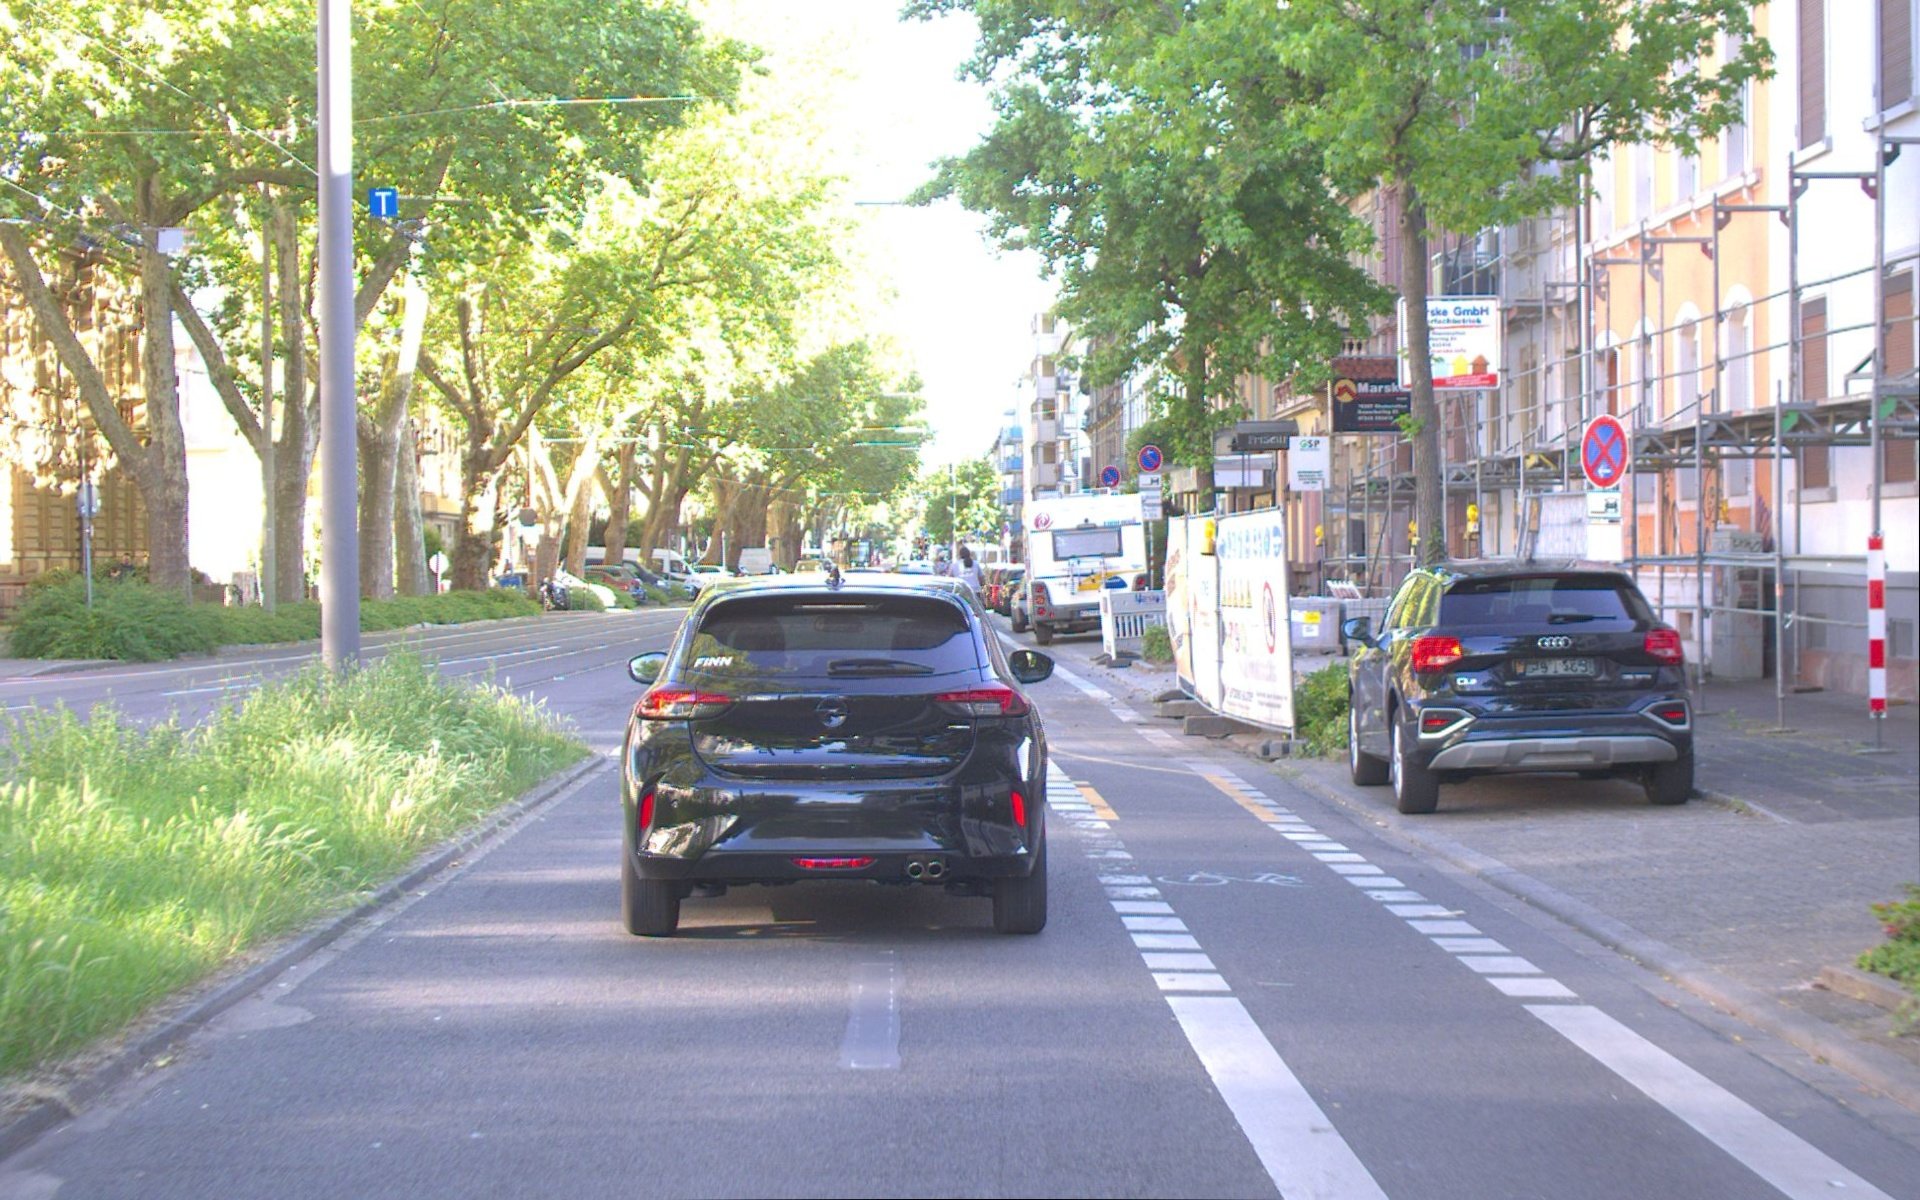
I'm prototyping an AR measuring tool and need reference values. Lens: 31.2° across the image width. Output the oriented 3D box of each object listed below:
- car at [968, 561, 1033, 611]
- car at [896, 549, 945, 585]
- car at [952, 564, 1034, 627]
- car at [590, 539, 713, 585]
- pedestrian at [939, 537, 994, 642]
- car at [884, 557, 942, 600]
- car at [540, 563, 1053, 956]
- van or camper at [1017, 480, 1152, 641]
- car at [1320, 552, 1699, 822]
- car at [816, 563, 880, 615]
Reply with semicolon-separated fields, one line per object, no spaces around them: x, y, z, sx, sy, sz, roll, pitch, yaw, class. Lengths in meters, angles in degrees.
1.211;-0.427;102.247;1.905;1.420;4.215;0;1;1;car
-1.598;-1.351;140.300;1.905;1.420;4.215;0;1;1;car
0.809;-0.132;82.682;1.905;1.420;4.215;0;1;1;car
-14.729;-1.821;164.300;5.687;2.190;2.289;0;1;0;car
0.118;-0.216;66.861;1.036;2.017;1.212;0;1;-1;pedestrian
-1.618;-0.765;119.726;1.905;1.420;4.215;0;1;1;car
-0.573;0.573;14.913;1.905;1.420;4.215;0;1;1;car
2.418;-0.796;68.188;2.486;2.983;5.434;2;1;1;van or camper
3.401;0.480;21.950;1.790;1.505;3.874;-2;1;0;car
-3.424;-0.358;105.693;1.790;1.505;3.874;-2;1;0;car
